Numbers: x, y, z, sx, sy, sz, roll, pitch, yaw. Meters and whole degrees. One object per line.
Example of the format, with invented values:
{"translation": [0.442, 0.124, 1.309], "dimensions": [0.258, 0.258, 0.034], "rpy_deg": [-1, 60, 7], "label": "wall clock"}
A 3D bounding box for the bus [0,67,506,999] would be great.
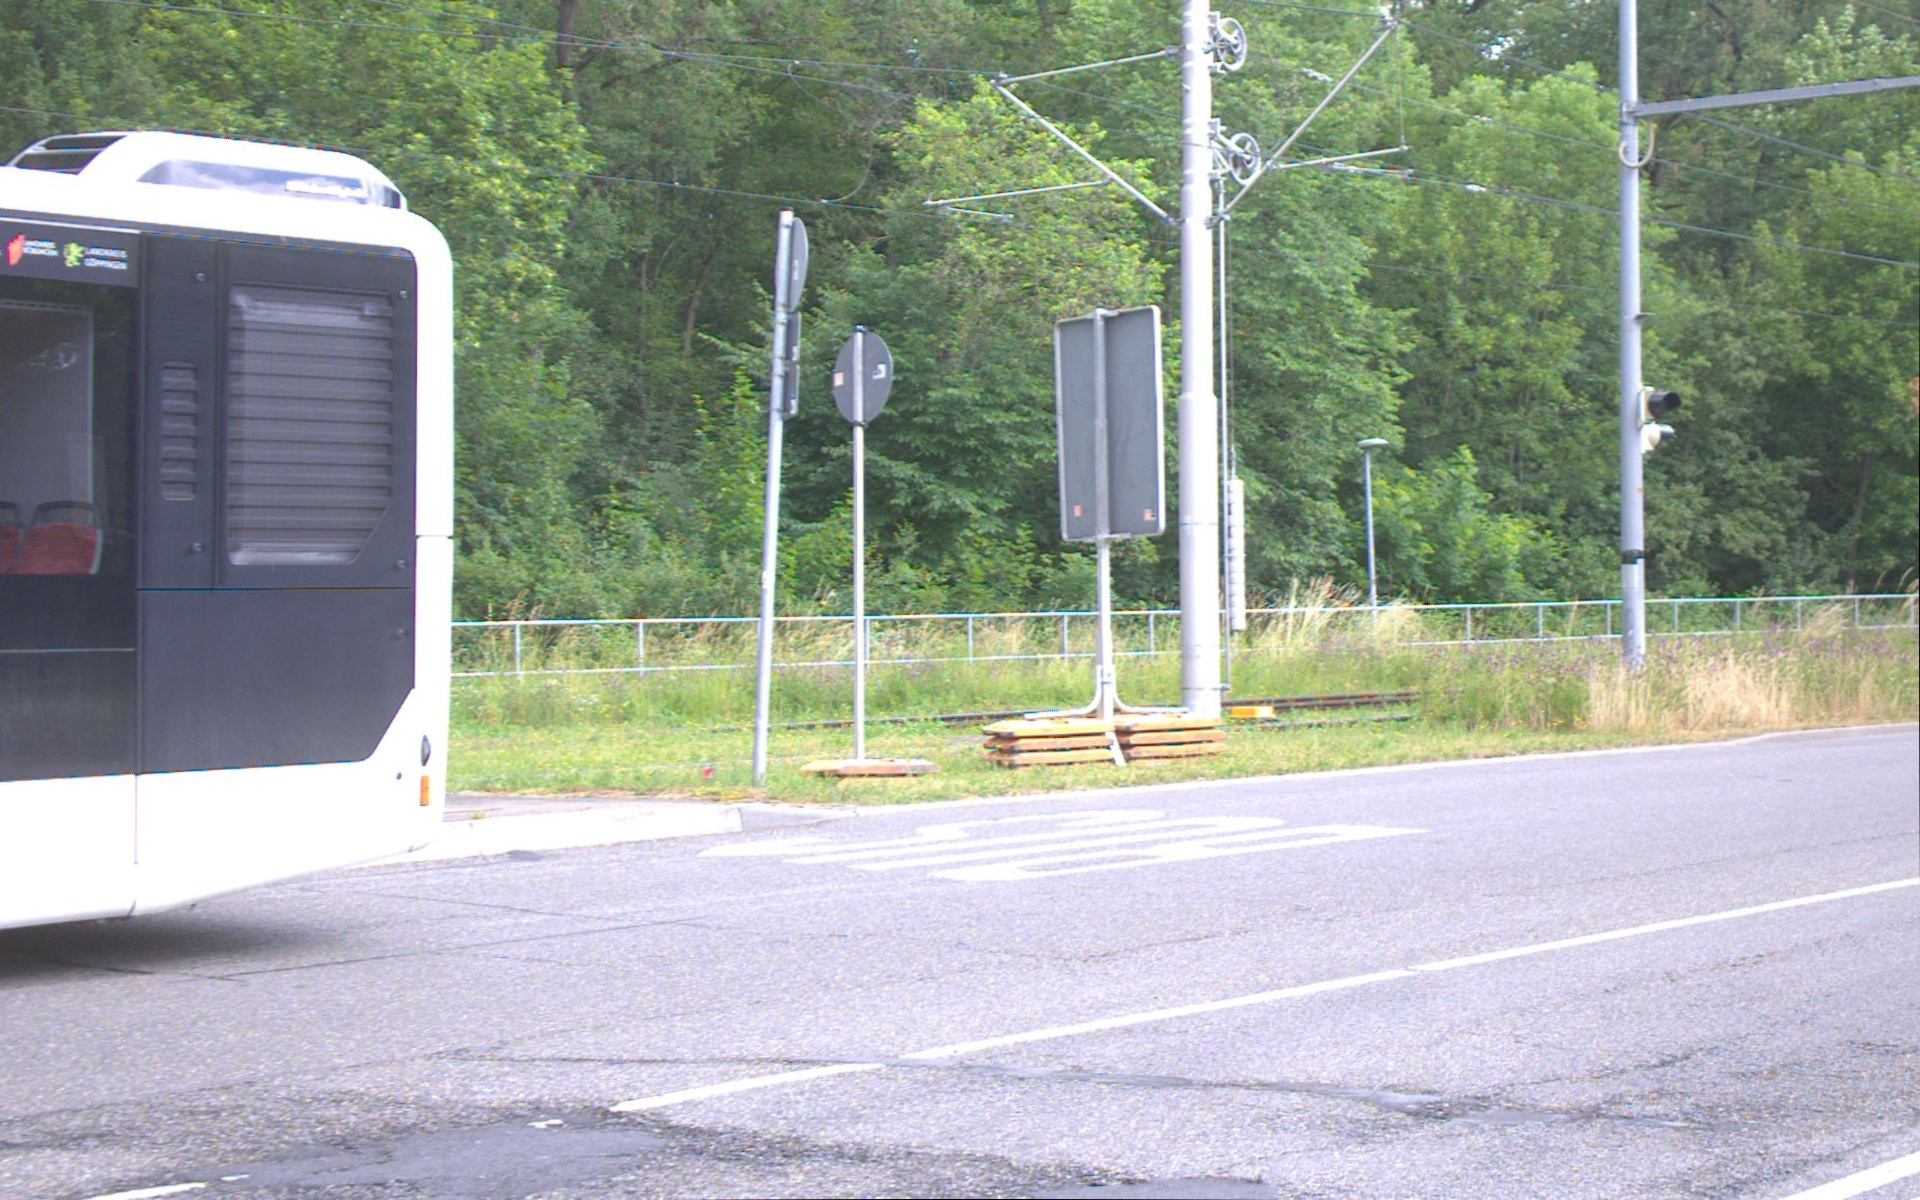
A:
{"translation": [-6.623, -0.209, 9.695], "dimensions": [2.672, 3.192, 12.172], "rpy_deg": [0, 0, 38], "label": "bus"}
